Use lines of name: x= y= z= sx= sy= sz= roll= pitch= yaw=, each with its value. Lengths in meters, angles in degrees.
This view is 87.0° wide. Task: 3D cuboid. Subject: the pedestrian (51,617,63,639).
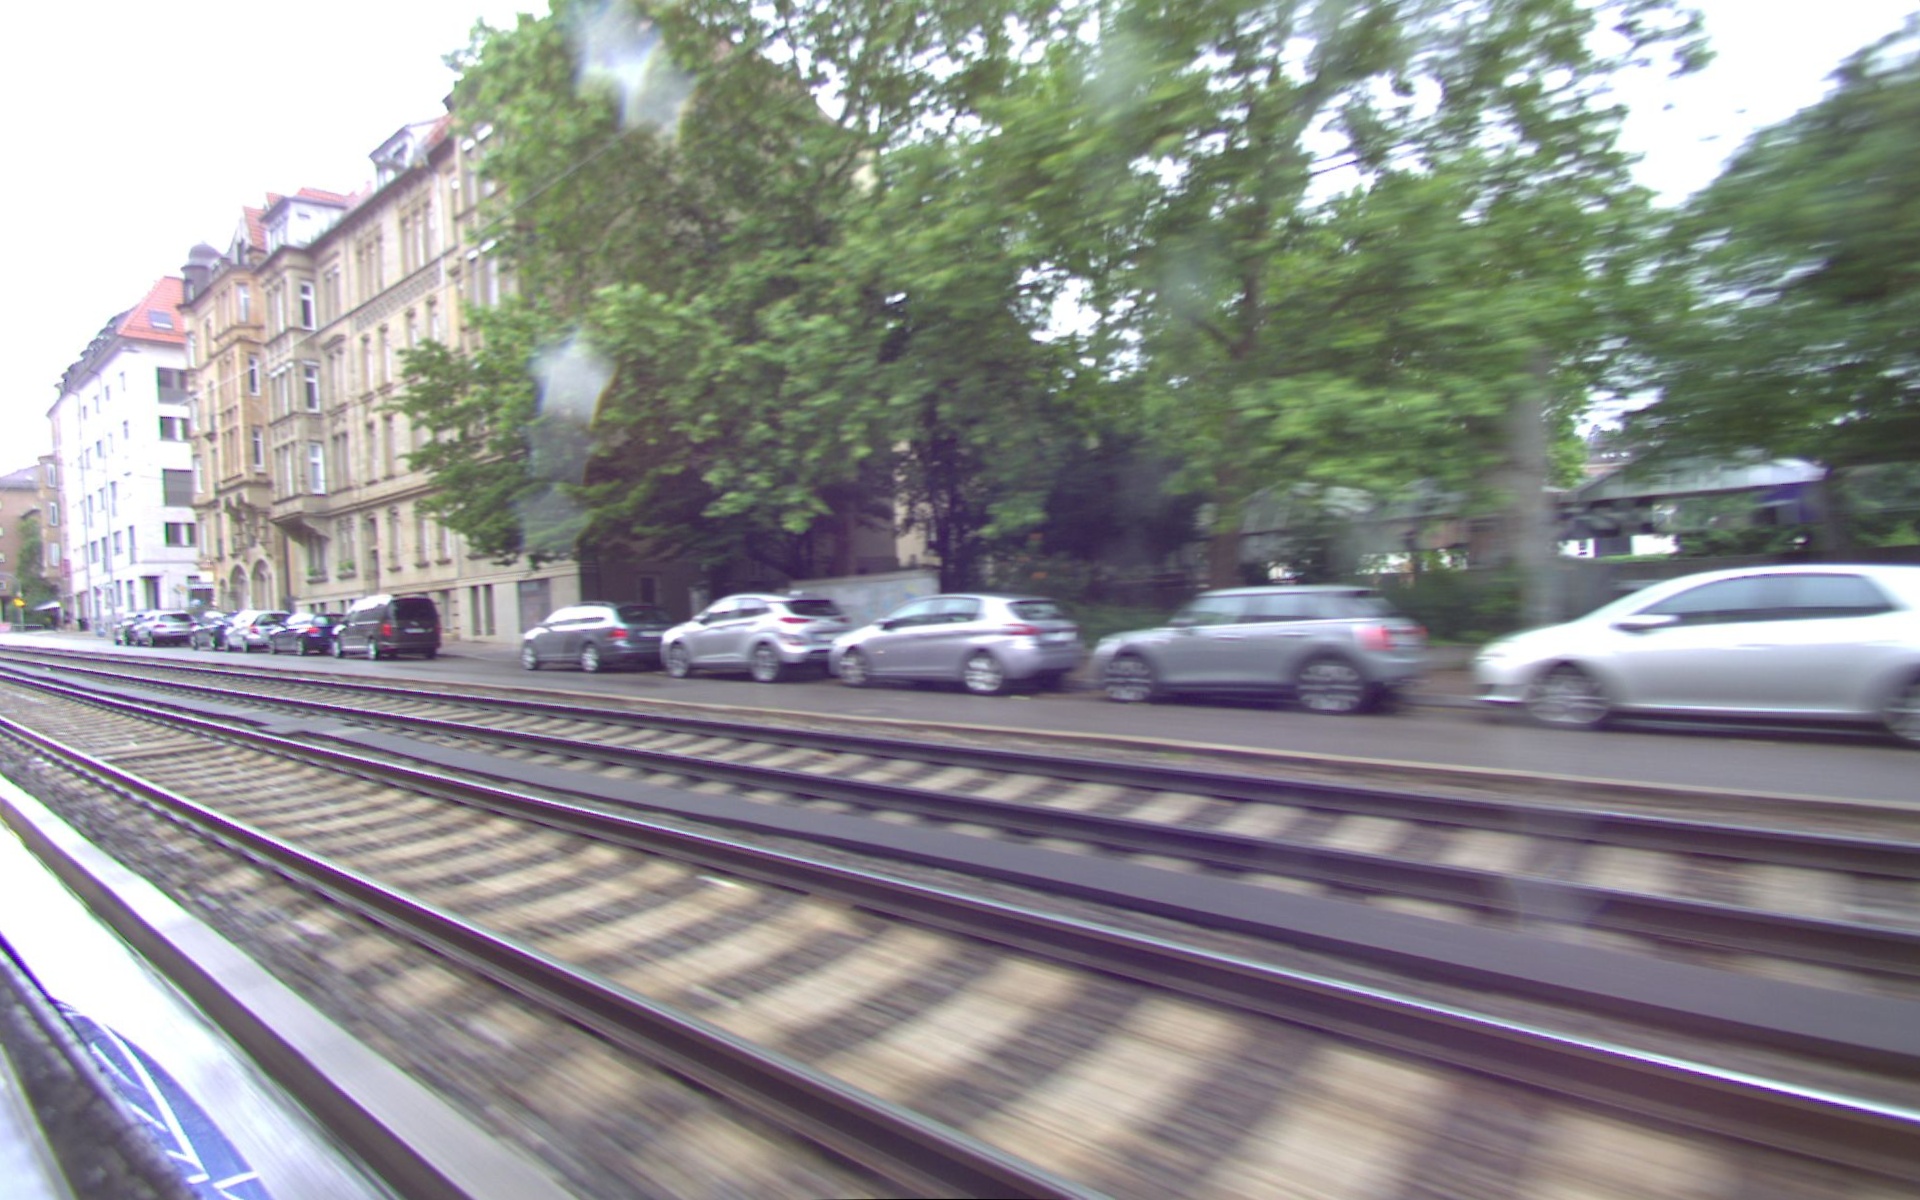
pedestrian: x=-72.557 y=2.243 z=81.307 sx=0.746 sy=1.731 sz=0.595 roll=-2 pitch=2 yaw=43

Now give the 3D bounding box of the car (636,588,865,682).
car: x=-3.954 y=0.634 z=18.691 sx=4.539 sy=1.548 sz=1.736 roll=-2 pitch=-2 yaw=40

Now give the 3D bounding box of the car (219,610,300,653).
car: x=-26.668 y=1.192 z=38.477 sx=3.853 sy=1.535 sz=1.677 roll=-2 pitch=-1 yaw=41

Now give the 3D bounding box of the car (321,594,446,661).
car: x=-17.387 y=0.828 z=30.439 sx=4.815 sy=1.861 sz=1.782 roll=-2 pitch=-2 yaw=41

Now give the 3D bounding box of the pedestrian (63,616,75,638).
pedestrian: x=-72.023 y=2.196 z=81.782 sx=0.658 sy=1.731 sz=0.595 roll=-2 pitch=2 yaw=43

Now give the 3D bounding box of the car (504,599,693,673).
car: x=-8.003 y=0.775 z=22.220 sx=4.545 sy=1.475 sz=1.831 roll=-1 pitch=-2 yaw=39

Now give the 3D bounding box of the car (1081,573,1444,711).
car: x=3.555 y=0.485 z=12.311 sx=3.949 sy=1.424 sz=1.524 roll=-2 pitch=-2 yaw=40

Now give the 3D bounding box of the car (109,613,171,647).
car: x=-42.015 y=1.530 z=51.815 sx=4.429 sy=1.614 sz=1.838 roll=-2 pitch=-1 yaw=43

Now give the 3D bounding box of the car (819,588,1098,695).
car: x=-0.121 y=0.608 z=15.521 sx=4.150 sy=1.424 sz=1.736 roll=-2 pitch=-2 yaw=40

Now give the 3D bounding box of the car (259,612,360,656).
car: x=-22.327 y=1.151 z=34.683 sx=4.266 sy=1.409 sz=1.745 roll=-2 pitch=-1 yaw=40

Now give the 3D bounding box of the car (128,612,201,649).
car: x=-38.130 y=1.437 z=48.476 sx=4.311 sy=1.665 sz=1.840 roll=-2 pitch=0 yaw=40

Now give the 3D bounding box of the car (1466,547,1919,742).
car: x=7.077 y=0.382 z=9.234 sx=4.151 sy=1.517 sz=1.524 roll=-2 pitch=-2 yaw=40

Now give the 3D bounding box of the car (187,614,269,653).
car: x=-30.324 y=1.369 z=41.895 sx=4.166 sy=1.519 sz=1.851 roll=-1 pitch=-1 yaw=41
